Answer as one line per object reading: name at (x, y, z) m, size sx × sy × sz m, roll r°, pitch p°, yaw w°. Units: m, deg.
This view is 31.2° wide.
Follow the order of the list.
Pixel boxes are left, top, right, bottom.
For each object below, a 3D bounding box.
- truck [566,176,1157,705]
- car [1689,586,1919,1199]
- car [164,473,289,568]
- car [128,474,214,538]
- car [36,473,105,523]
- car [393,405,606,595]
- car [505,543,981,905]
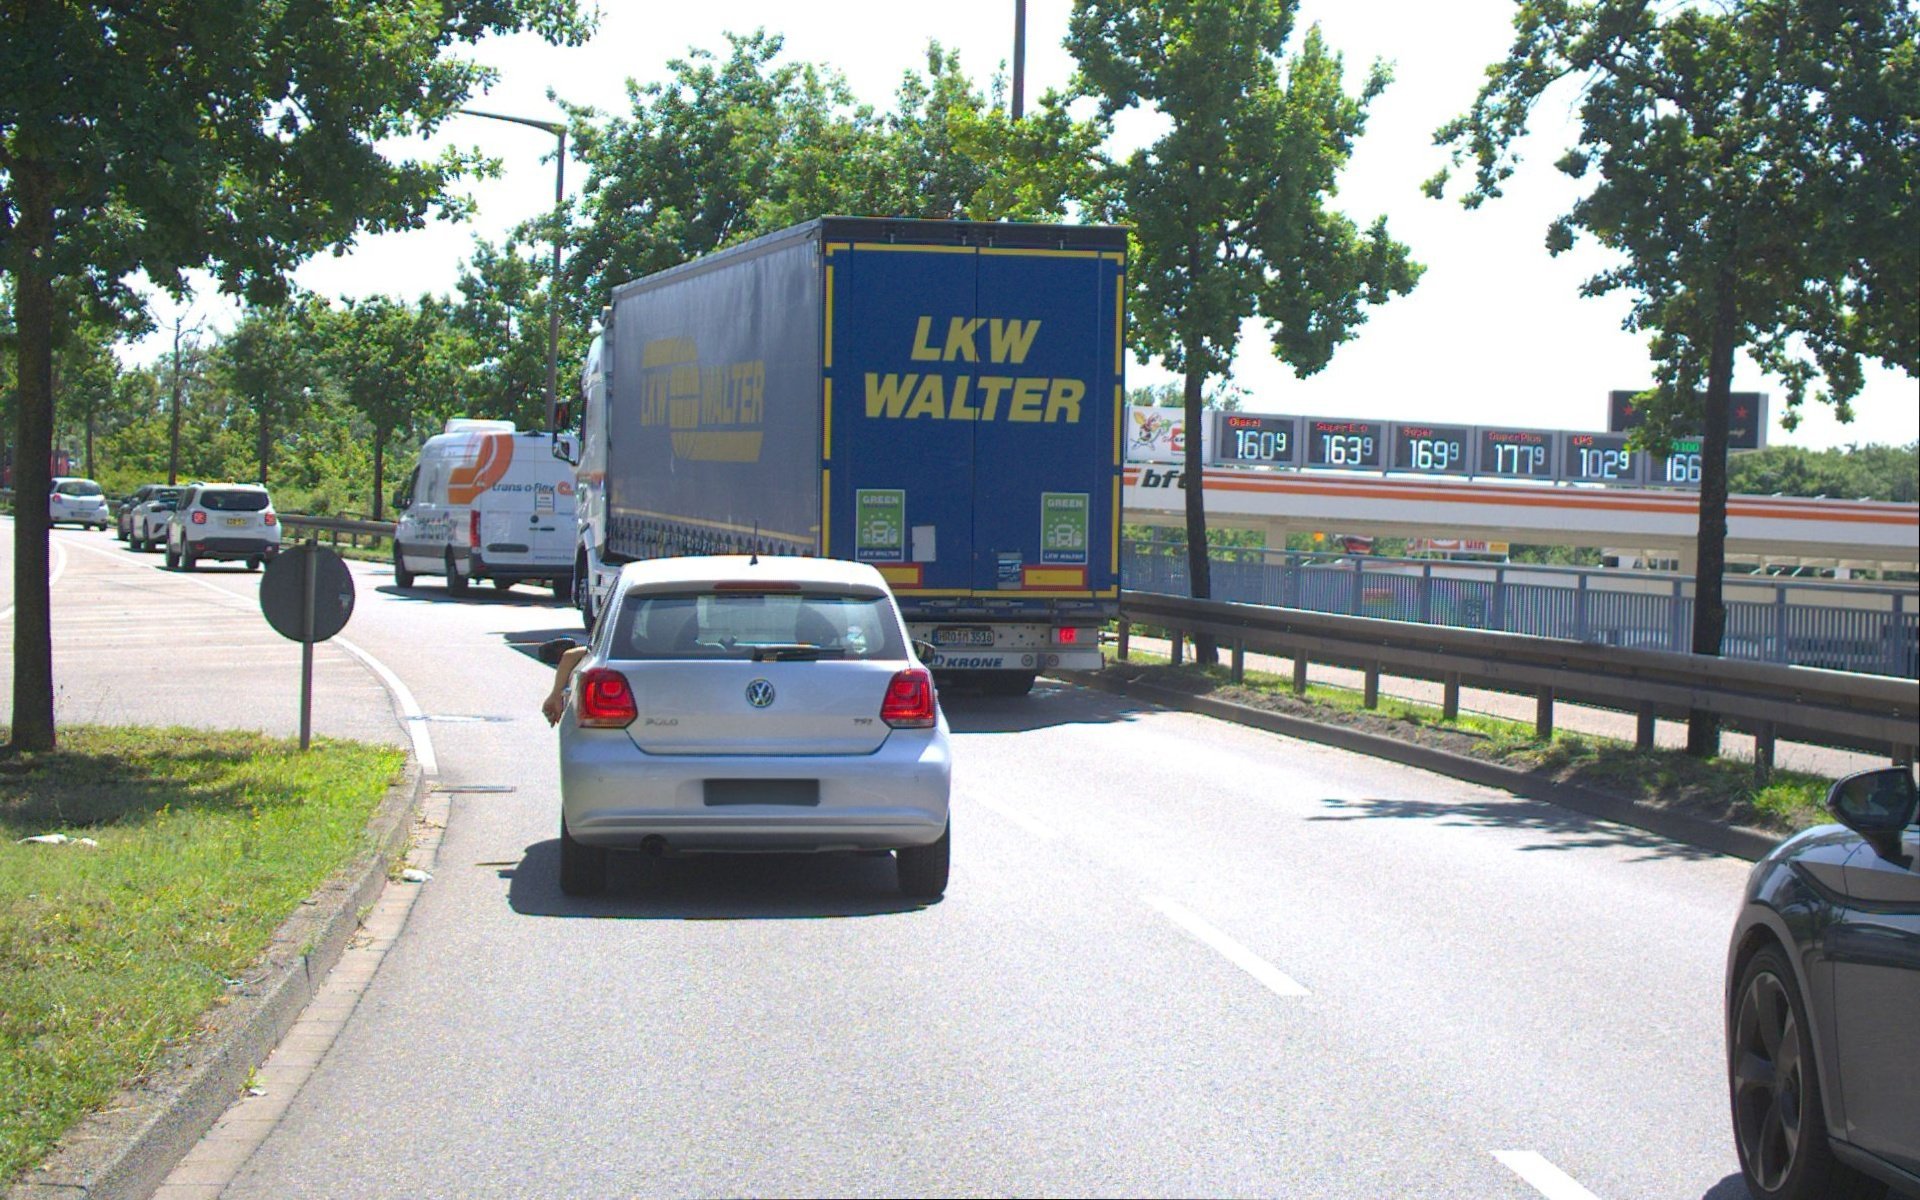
truck at (-1.692, -1.410, 35.858) m, size 2.832 × 4.184 × 16.479 m, roll 2°, pitch 1°, yaw -13°
car at (2.714, 0.720, 6.189) m, size 1.604 × 1.451 × 4.236 m, roll 2°, pitch 0°, yaw -4°
car at (-14.132, -1.494, 66.058) m, size 1.903 × 1.712 × 4.225 m, roll 2°, pitch 0°, yaw -18°
car at (-17.843, -2.118, 77.658) m, size 1.494 × 1.355 × 3.664 m, roll 2°, pitch 1°, yaw -19°
car at (-25.717, -2.927, 99.331) m, size 1.607 × 1.355 × 3.664 m, roll 2°, pitch 1°, yaw -19°
car at (-7.651, -1.668, 56.490) m, size 2.175 × 2.890 × 6.360 m, roll 2°, pitch 2°, yaw -19°
car at (-1.096, 0.503, 15.667) m, size 1.645 × 1.434 × 3.538 m, roll 2°, pitch 0°, yaw -12°
